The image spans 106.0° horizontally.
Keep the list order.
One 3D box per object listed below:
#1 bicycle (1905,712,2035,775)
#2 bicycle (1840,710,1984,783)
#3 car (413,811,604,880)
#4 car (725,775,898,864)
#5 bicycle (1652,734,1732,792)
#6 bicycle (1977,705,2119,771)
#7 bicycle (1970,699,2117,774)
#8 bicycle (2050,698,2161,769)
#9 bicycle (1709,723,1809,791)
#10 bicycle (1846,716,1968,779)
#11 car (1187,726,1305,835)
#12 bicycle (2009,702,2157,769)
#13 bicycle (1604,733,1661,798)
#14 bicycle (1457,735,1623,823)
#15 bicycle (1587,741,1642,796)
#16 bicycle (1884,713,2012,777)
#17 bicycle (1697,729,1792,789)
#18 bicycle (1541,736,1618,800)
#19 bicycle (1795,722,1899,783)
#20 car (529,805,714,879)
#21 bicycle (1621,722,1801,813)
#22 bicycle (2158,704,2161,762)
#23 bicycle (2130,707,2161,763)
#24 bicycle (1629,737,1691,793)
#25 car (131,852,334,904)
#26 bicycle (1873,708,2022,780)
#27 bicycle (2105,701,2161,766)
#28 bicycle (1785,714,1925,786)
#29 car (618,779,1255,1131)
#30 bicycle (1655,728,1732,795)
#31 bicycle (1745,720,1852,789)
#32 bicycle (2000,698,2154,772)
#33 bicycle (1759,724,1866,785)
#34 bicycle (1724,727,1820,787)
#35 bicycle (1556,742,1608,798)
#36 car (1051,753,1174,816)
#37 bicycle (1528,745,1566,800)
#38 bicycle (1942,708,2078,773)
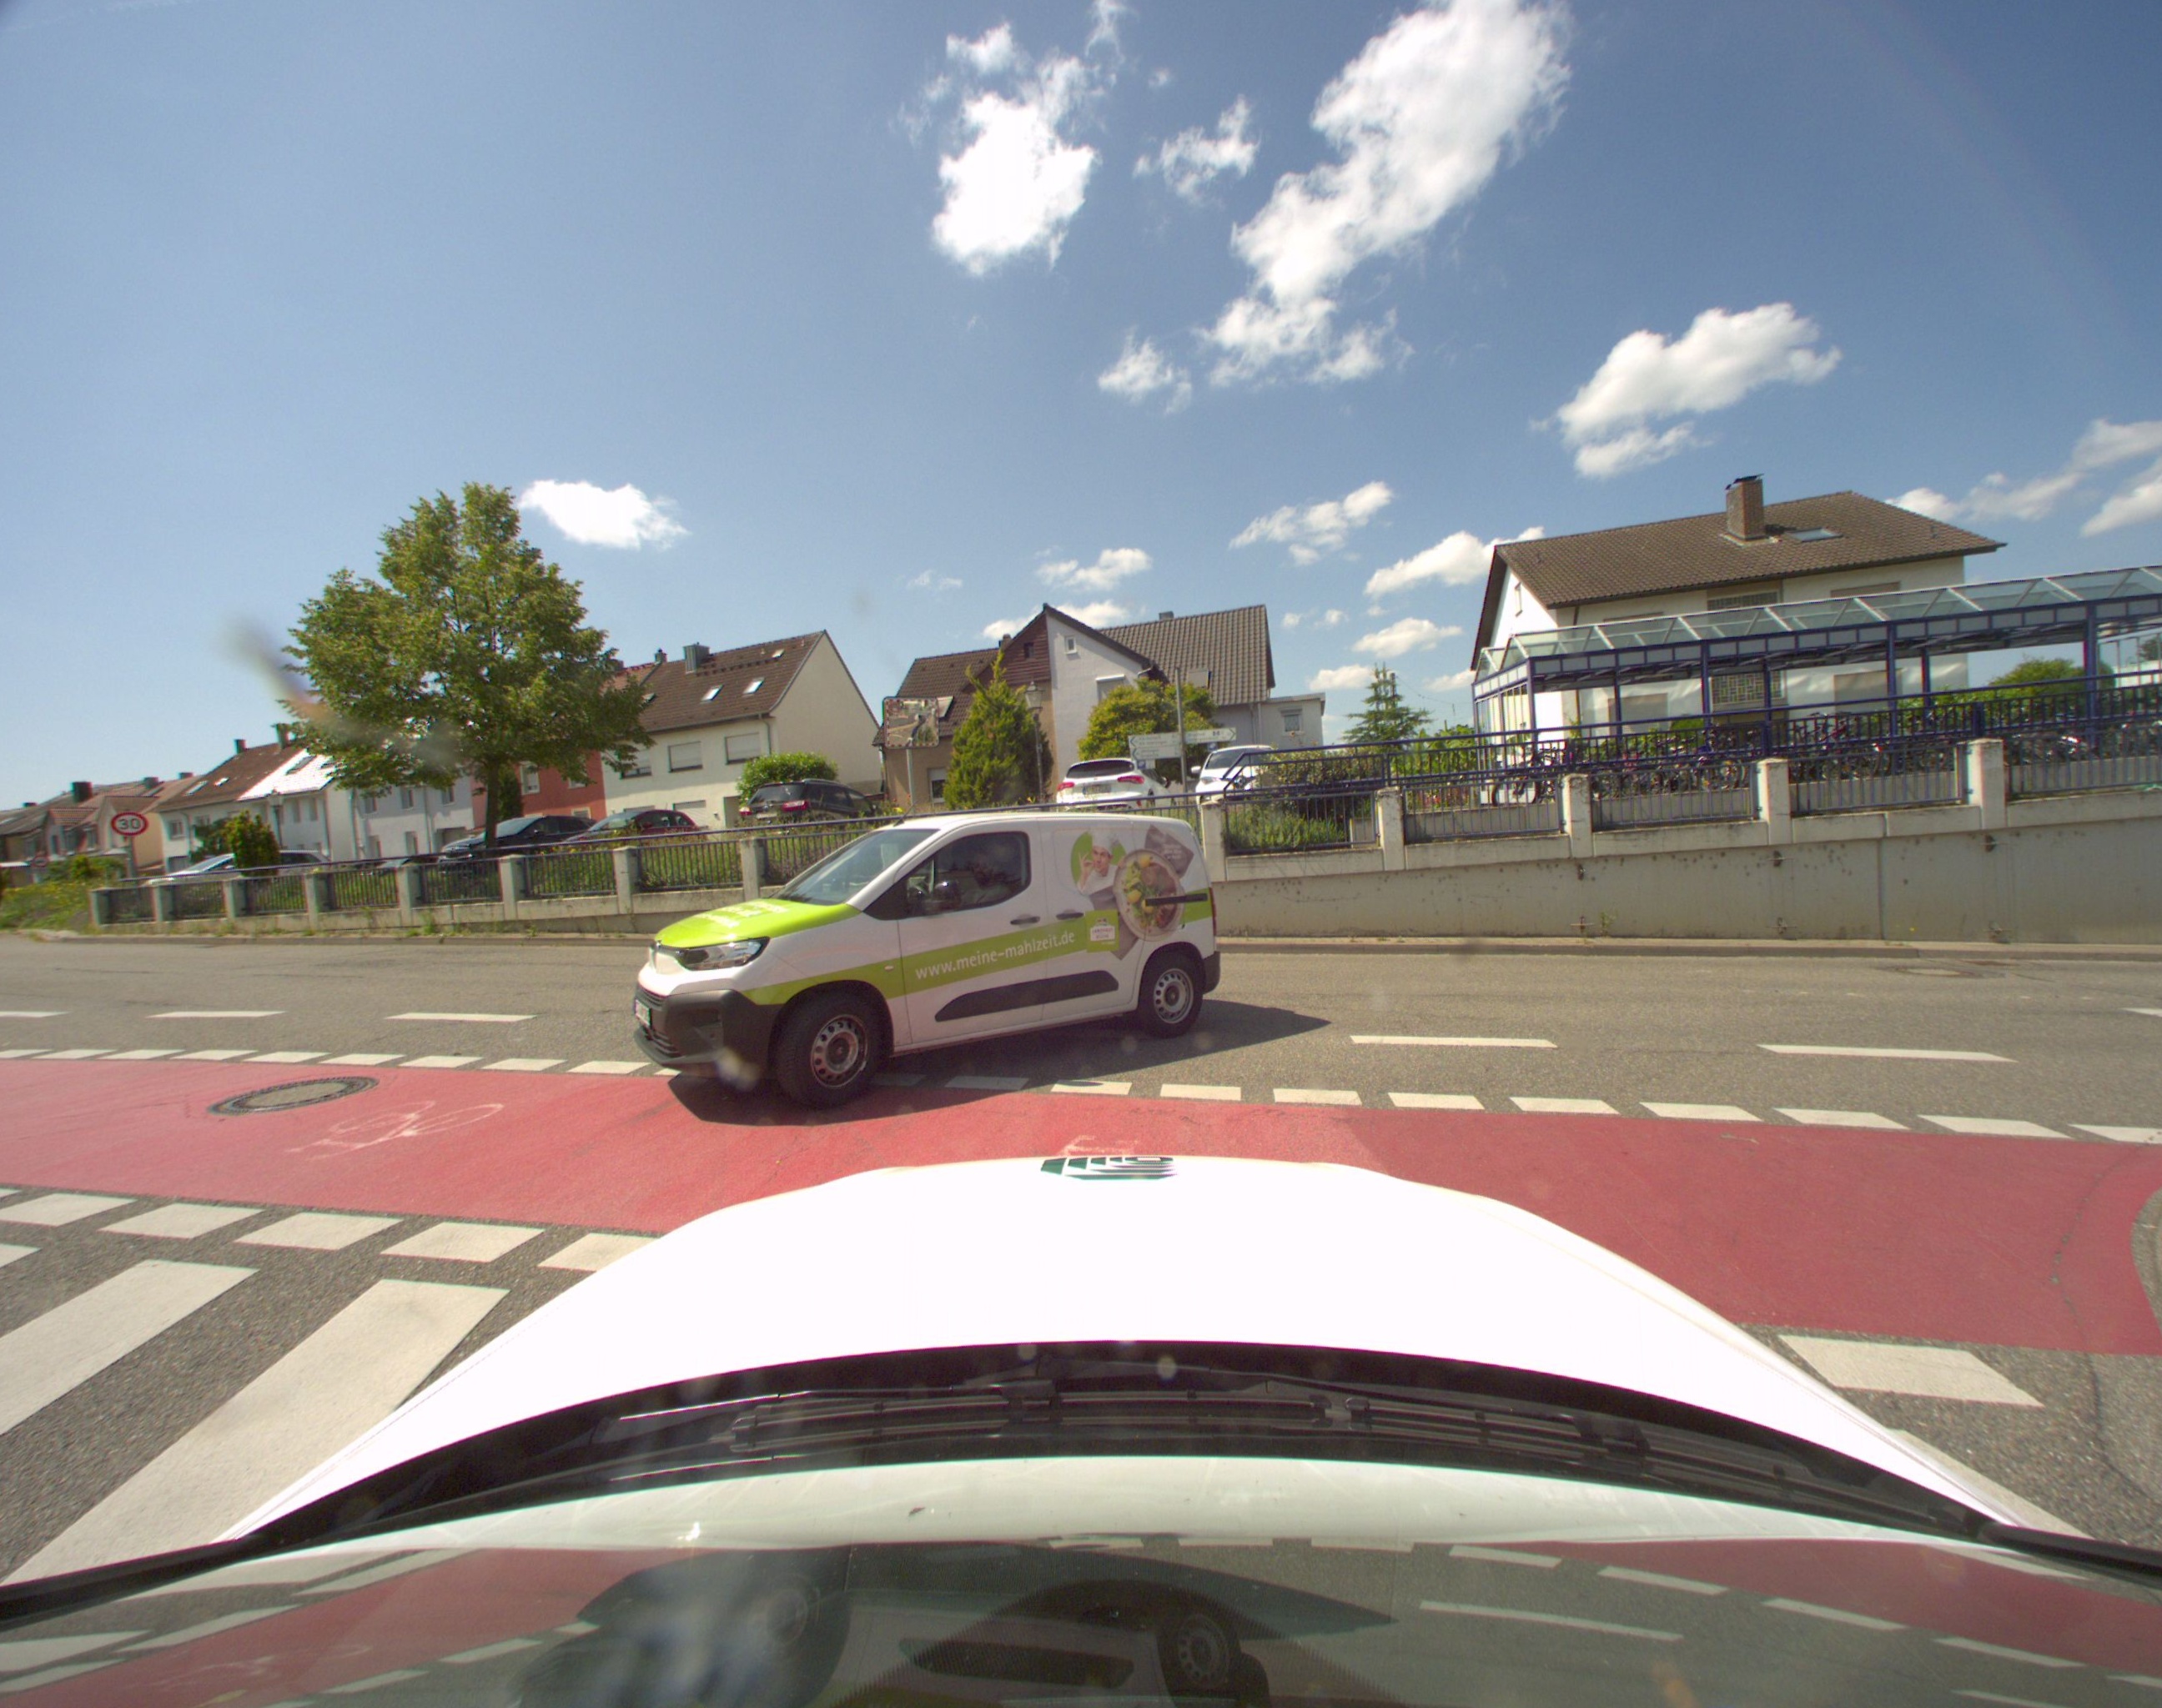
[{"bbox_3d":[16.672,-2.041,15.344,0.516,0.994,1.971,-3,2,9],"label":"bicycle"},{"bbox_3d":[13.822,-1.751,13.644,0.529,0.994,2.195,-3,2,11],"label":"bicycle"},{"bbox_3d":[-14.438,-0.232,20.788,1.854,1.586,3.624,0,1,14],"label":"car"},{"bbox_3d":[-5.985,-0.741,18.626,1.854,1.797,4.016,0,1,14],"label":"car"},{"bbox_3d":[12.001,-1.761,16.061,0.423,0.994,1.973,-3,2,12],"label":"bicycle"},{"bbox_3d":[17.840,-2.108,15.094,0.516,0.994,1.971,-3,2,9],"label":"bicycle"},{"bbox_3d":[15.411,-1.835,13.121,0.574,0.994,2.200,-3,2,22],"label":"bicycle"},{"bbox_3d":[16.906,-1.940,13.265,0.511,0.994,2.050,-3,2,21],"label":"bicycle"},{"bbox_3d":[11.529,-1.612,13.934,0.432,0.994,2.292,-3,2,17],"label":"bicycle"},{"bbox_3d":[15.344,-1.948,15.205,0.516,0.994,1.971,-3,2,9],"label":"bicycle"},{"bbox_3d":[3.319,-1.294,15.935,1.979,1.797,4.213,0,1,14],"label":"car"},{"bbox_3d":[18.382,-2.140,15.013,0.516,0.994,1.971,-3,2,9],"label":"bicycle"},{"bbox_3d":[9.359,-1.466,13.877,0.431,0.994,2.115,-3,2,25],"label":"bicycle"},{"bbox_3d":[6.698,-1.082,11.931,2.103,1.125,0.334,-3,2,7],"label":"bicycle"},{"bbox_3d":[10.668,-1.683,16.327,0.370,0.994,1.975,-3,2,18],"label":"bicycle"},{"bbox_3d":[16.078,-1.995,15.171,0.516,0.994,1.971,-3,2,9],"label":"bicycle"},{"bbox_3d":[12.808,-1.804,15.796,0.470,0.994,1.971,-3,2,9],"label":"bicycle"},{"bbox_3d":[8.776,-1.483,14.421,0.330,0.994,2.081,-3,2,8],"label":"bicycle"},{"bbox_3d":[14.664,-1.921,15.654,0.516,0.994,1.806,-3,2,9],"label":"bicycle"},{"bbox_3d":[-10.859,-0.298,19.546,1.854,1.586,3.624,0,1,14],"label":"car"},{"bbox_3d":[8.971,-1.220,11.639,2.103,1.125,0.393,-3,2,7],"label":"bicycle"},{"bbox_3d":[18.414,-2.025,12.911,0.539,0.994,2.049,-3,2,18],"label":"bicycle"},{"bbox_3d":[20.177,-2.209,14.601,0.539,0.994,2.048,-3,2,15],"label":"bicycle"},{"bbox_3d":[11.347,-1.716,16.014,0.370,0.994,1.975,-3,2,18],"label":"bicycle"},{"bbox_3d":[-27.860,0.723,26.951,1.727,1.488,4.279,0,1,21],"label":"car"},{"bbox_3d":[14.537,-1.803,13.762,0.529,0.994,2.195,-3,2,11],"label":"bicycle"},{"bbox_3d":[17.604,-1.975,12.994,0.511,0.994,2.049,-3,2,18],"label":"bicycle"},{"bbox_3d":[12.831,-1.684,13.601,0.529,0.994,2.289,-3,2,11],"label":"bicycle"},{"bbox_3d":[-0.881,0.479,6.353,4.579,1.854,1.798,-1,2,-36],"label":"car"},{"bbox_3d":[10.394,-1.534,13.878,0.432,0.994,2.113,-3,2,20],"label":"bicycle"},{"bbox_3d":[12.096,-1.644,13.815,0.432,0.994,2.292,-3,2,17],"label":"bicycle"},{"bbox_3d":[16.211,-1.897,13.334,0.511,0.994,2.048,-3,2,16],"label":"bicycle"},{"bbox_3d":[13.982,-1.875,15.632,0.516,0.994,1.971,-3,2,9],"label":"bicycle"},{"bbox_3d":[13.275,-1.831,15.710,0.411,0.994,1.971,-3,2,9],"label":"bicycle"},{"bbox_3d":[9.855,-1.619,16.059,0.370,0.994,1.975,-3,2,18],"label":"bicycle"},{"bbox_3d":[0.753,-1.337,16.532,1.812,1.019,3.473,0,1,14],"label":"car"},{"bbox_3d":[9.152,-1.571,16.034,0.451,0.994,1.899,-3,2,25],"label":"bicycle"},{"bbox_3d":[17.267,-2.075,15.211,0.516,0.994,1.971,-3,2,9],"label":"bicycle"}]
